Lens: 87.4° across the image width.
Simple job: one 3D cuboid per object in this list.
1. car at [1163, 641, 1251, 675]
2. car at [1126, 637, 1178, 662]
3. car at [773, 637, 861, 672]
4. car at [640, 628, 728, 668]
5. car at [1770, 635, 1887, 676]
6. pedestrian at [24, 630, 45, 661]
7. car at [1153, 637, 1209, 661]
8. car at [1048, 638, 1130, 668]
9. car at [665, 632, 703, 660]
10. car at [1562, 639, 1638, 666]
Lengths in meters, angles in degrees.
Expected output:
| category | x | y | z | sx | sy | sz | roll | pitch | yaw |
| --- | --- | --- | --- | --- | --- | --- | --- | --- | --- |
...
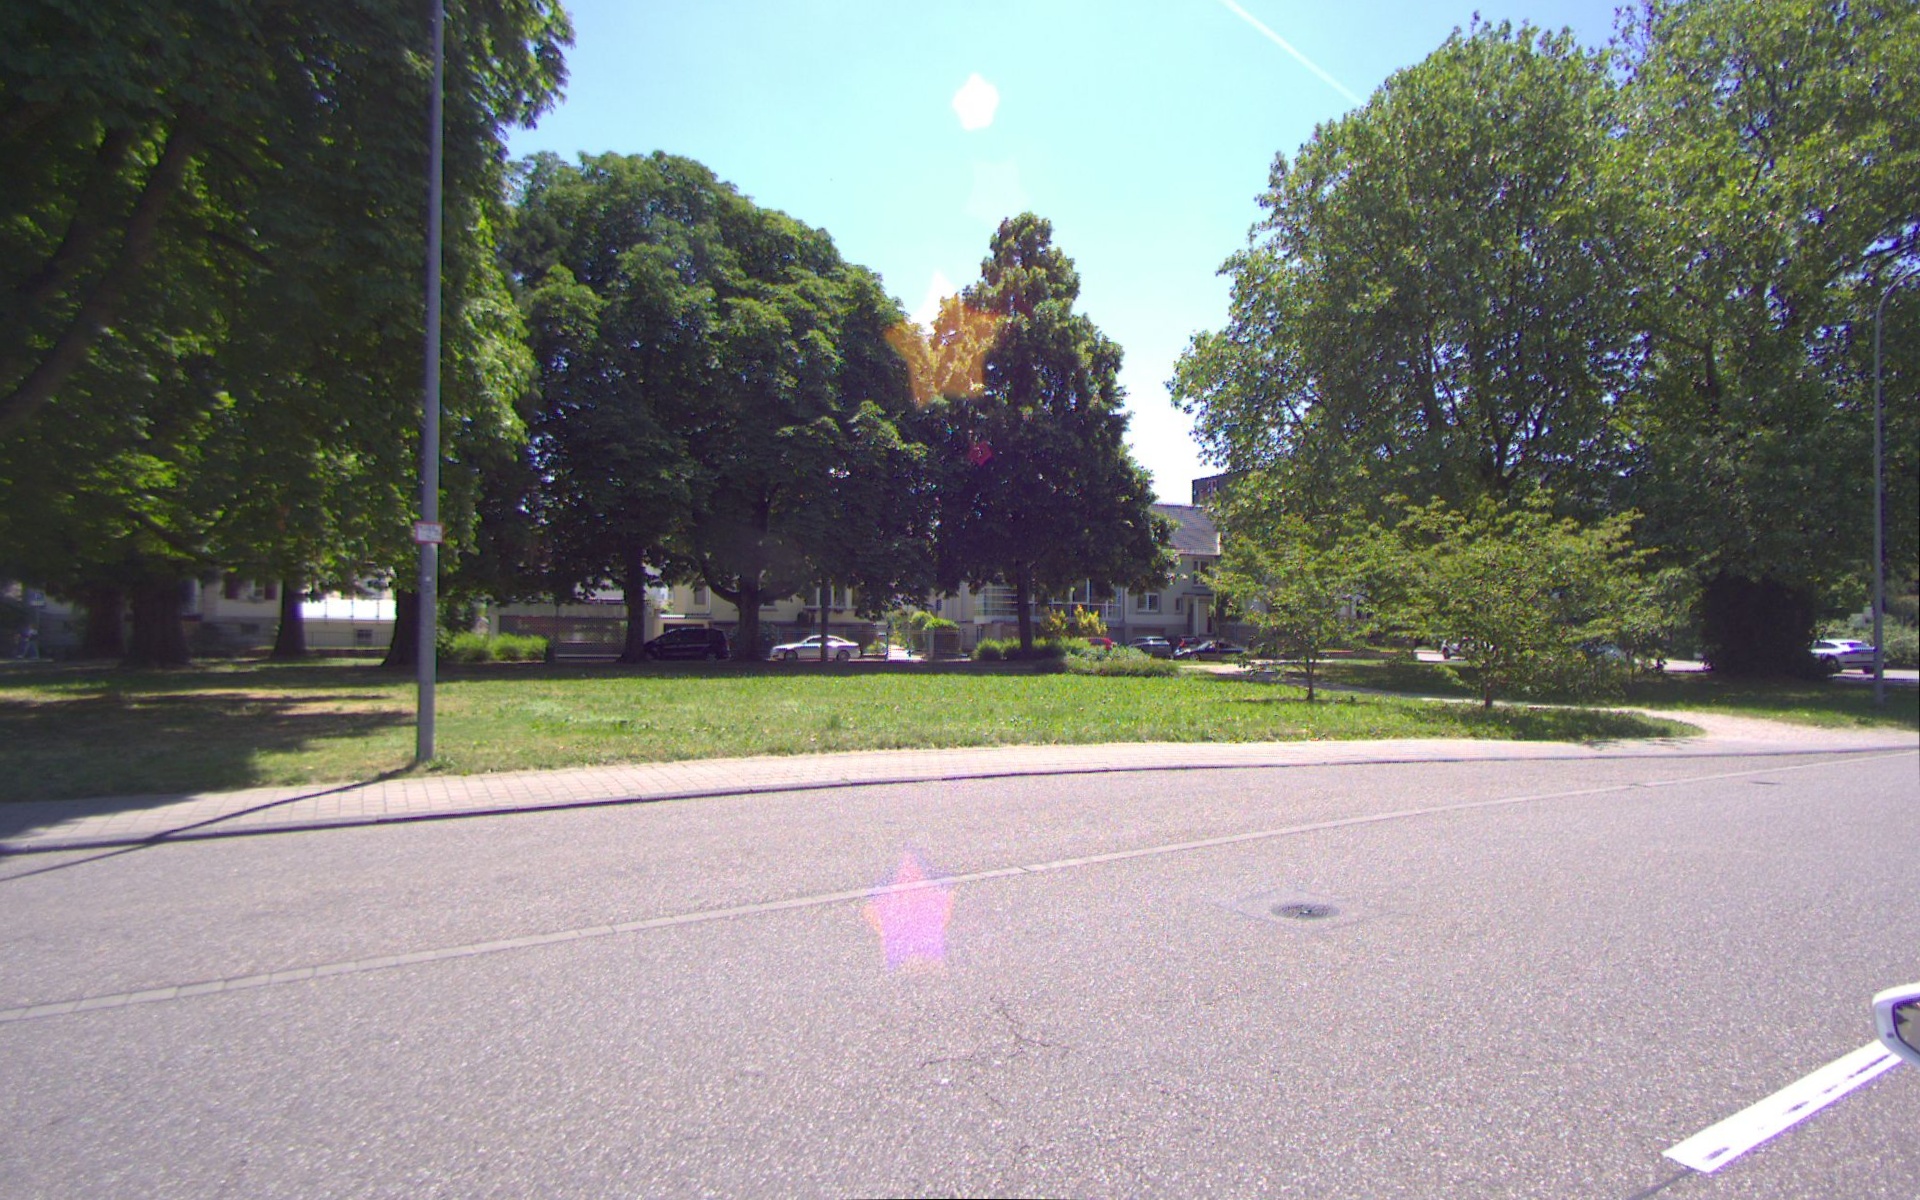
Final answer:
| category | x | y | z | sx | sy | sz | roll | pitch | yaw |
| --- | --- | --- | --- | --- | --- | --- | --- | --- | --- |
| car | 13.785 | 3.252 | 56.191 | 4.420 | 1.802 | 1.999 | 1 | -2 | -4 |
| car | 12.341 | 3.174 | 64.740 | 1.849 | 1.453 | 3.990 | 2 | -2 | -13 |
| car | -7.685 | 2.889 | 53.874 | 4.433 | 1.802 | 1.993 | 1 | -2 | -16 |
| car | -13.132 | 2.285 | 48.007 | 3.931 | 1.802 | 1.995 | 1 | -2 | -13 |
| car | 43.331 | 2.834 | 50.263 | 1.906 | 1.633 | 4.475 | 10 | -4 | 2 |
| pedestrian | -41.691 | 2.043 | 45.254 | 0.585 | 1.409 | 0.509 | 1 | -2 | -32 |
| car | 14.583 | 3.229 | 66.544 | 1.967 | 1.445 | 3.988 | 2 | -2 | -15 |
| car | 7.494 | 3.075 | 58.551 | 4.423 | 1.639 | 1.998 | 1 | -2 | -8 |
| car | -16.578 | 2.761 | 60.303 | 1.969 | 1.606 | 3.984 | 1 | -2 | -18 |
| car | 37.005 | 3.030 | 58.176 | 1.615 | 1.436 | 3.999 | -1 | -2 | -4 |
